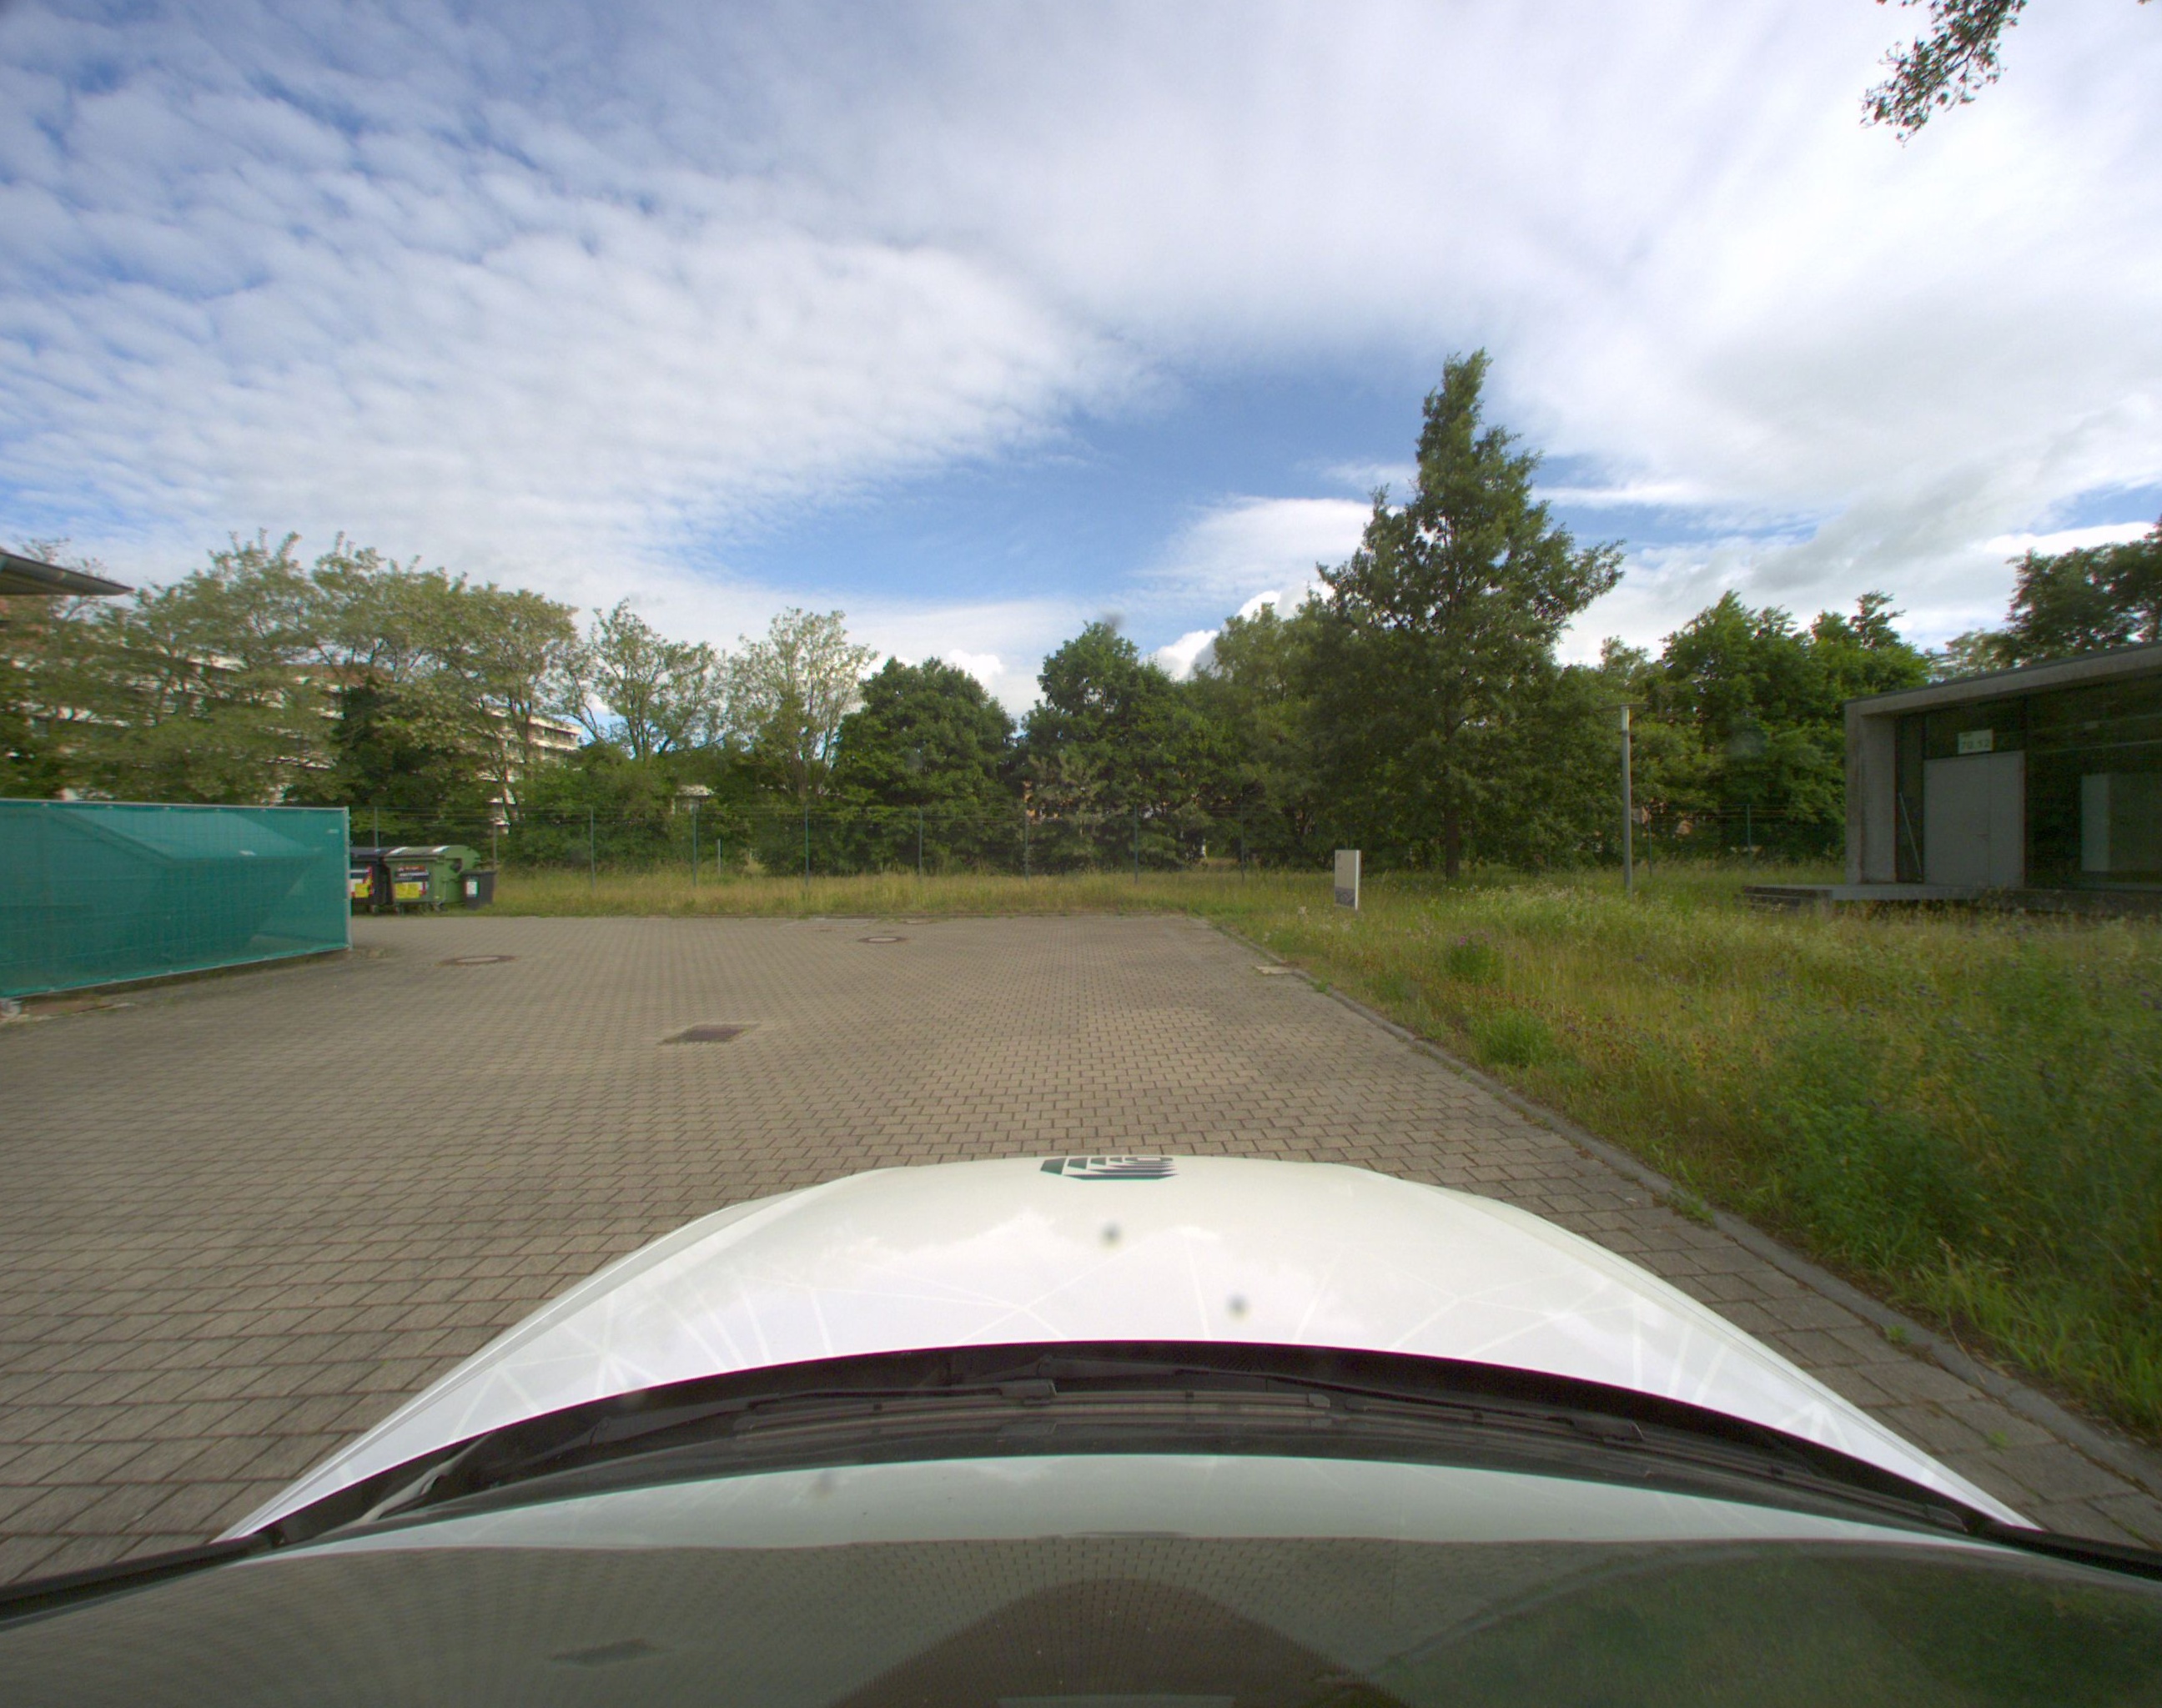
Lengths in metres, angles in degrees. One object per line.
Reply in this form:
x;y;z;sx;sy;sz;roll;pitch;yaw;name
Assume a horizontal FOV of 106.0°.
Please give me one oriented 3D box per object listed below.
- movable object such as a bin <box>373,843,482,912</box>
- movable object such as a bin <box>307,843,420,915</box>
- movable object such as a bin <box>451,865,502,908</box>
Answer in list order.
-13.745;0.477;17.168;1.344;1.395;1.134;-1;0;8;movable object such as a bin
-15.093;0.502;17.176;1.388;1.434;1.073;-1;0;2;movable object such as a bin
-12.776;0.681;17.216;0.580;0.866;0.603;-1;0;8;movable object such as a bin
